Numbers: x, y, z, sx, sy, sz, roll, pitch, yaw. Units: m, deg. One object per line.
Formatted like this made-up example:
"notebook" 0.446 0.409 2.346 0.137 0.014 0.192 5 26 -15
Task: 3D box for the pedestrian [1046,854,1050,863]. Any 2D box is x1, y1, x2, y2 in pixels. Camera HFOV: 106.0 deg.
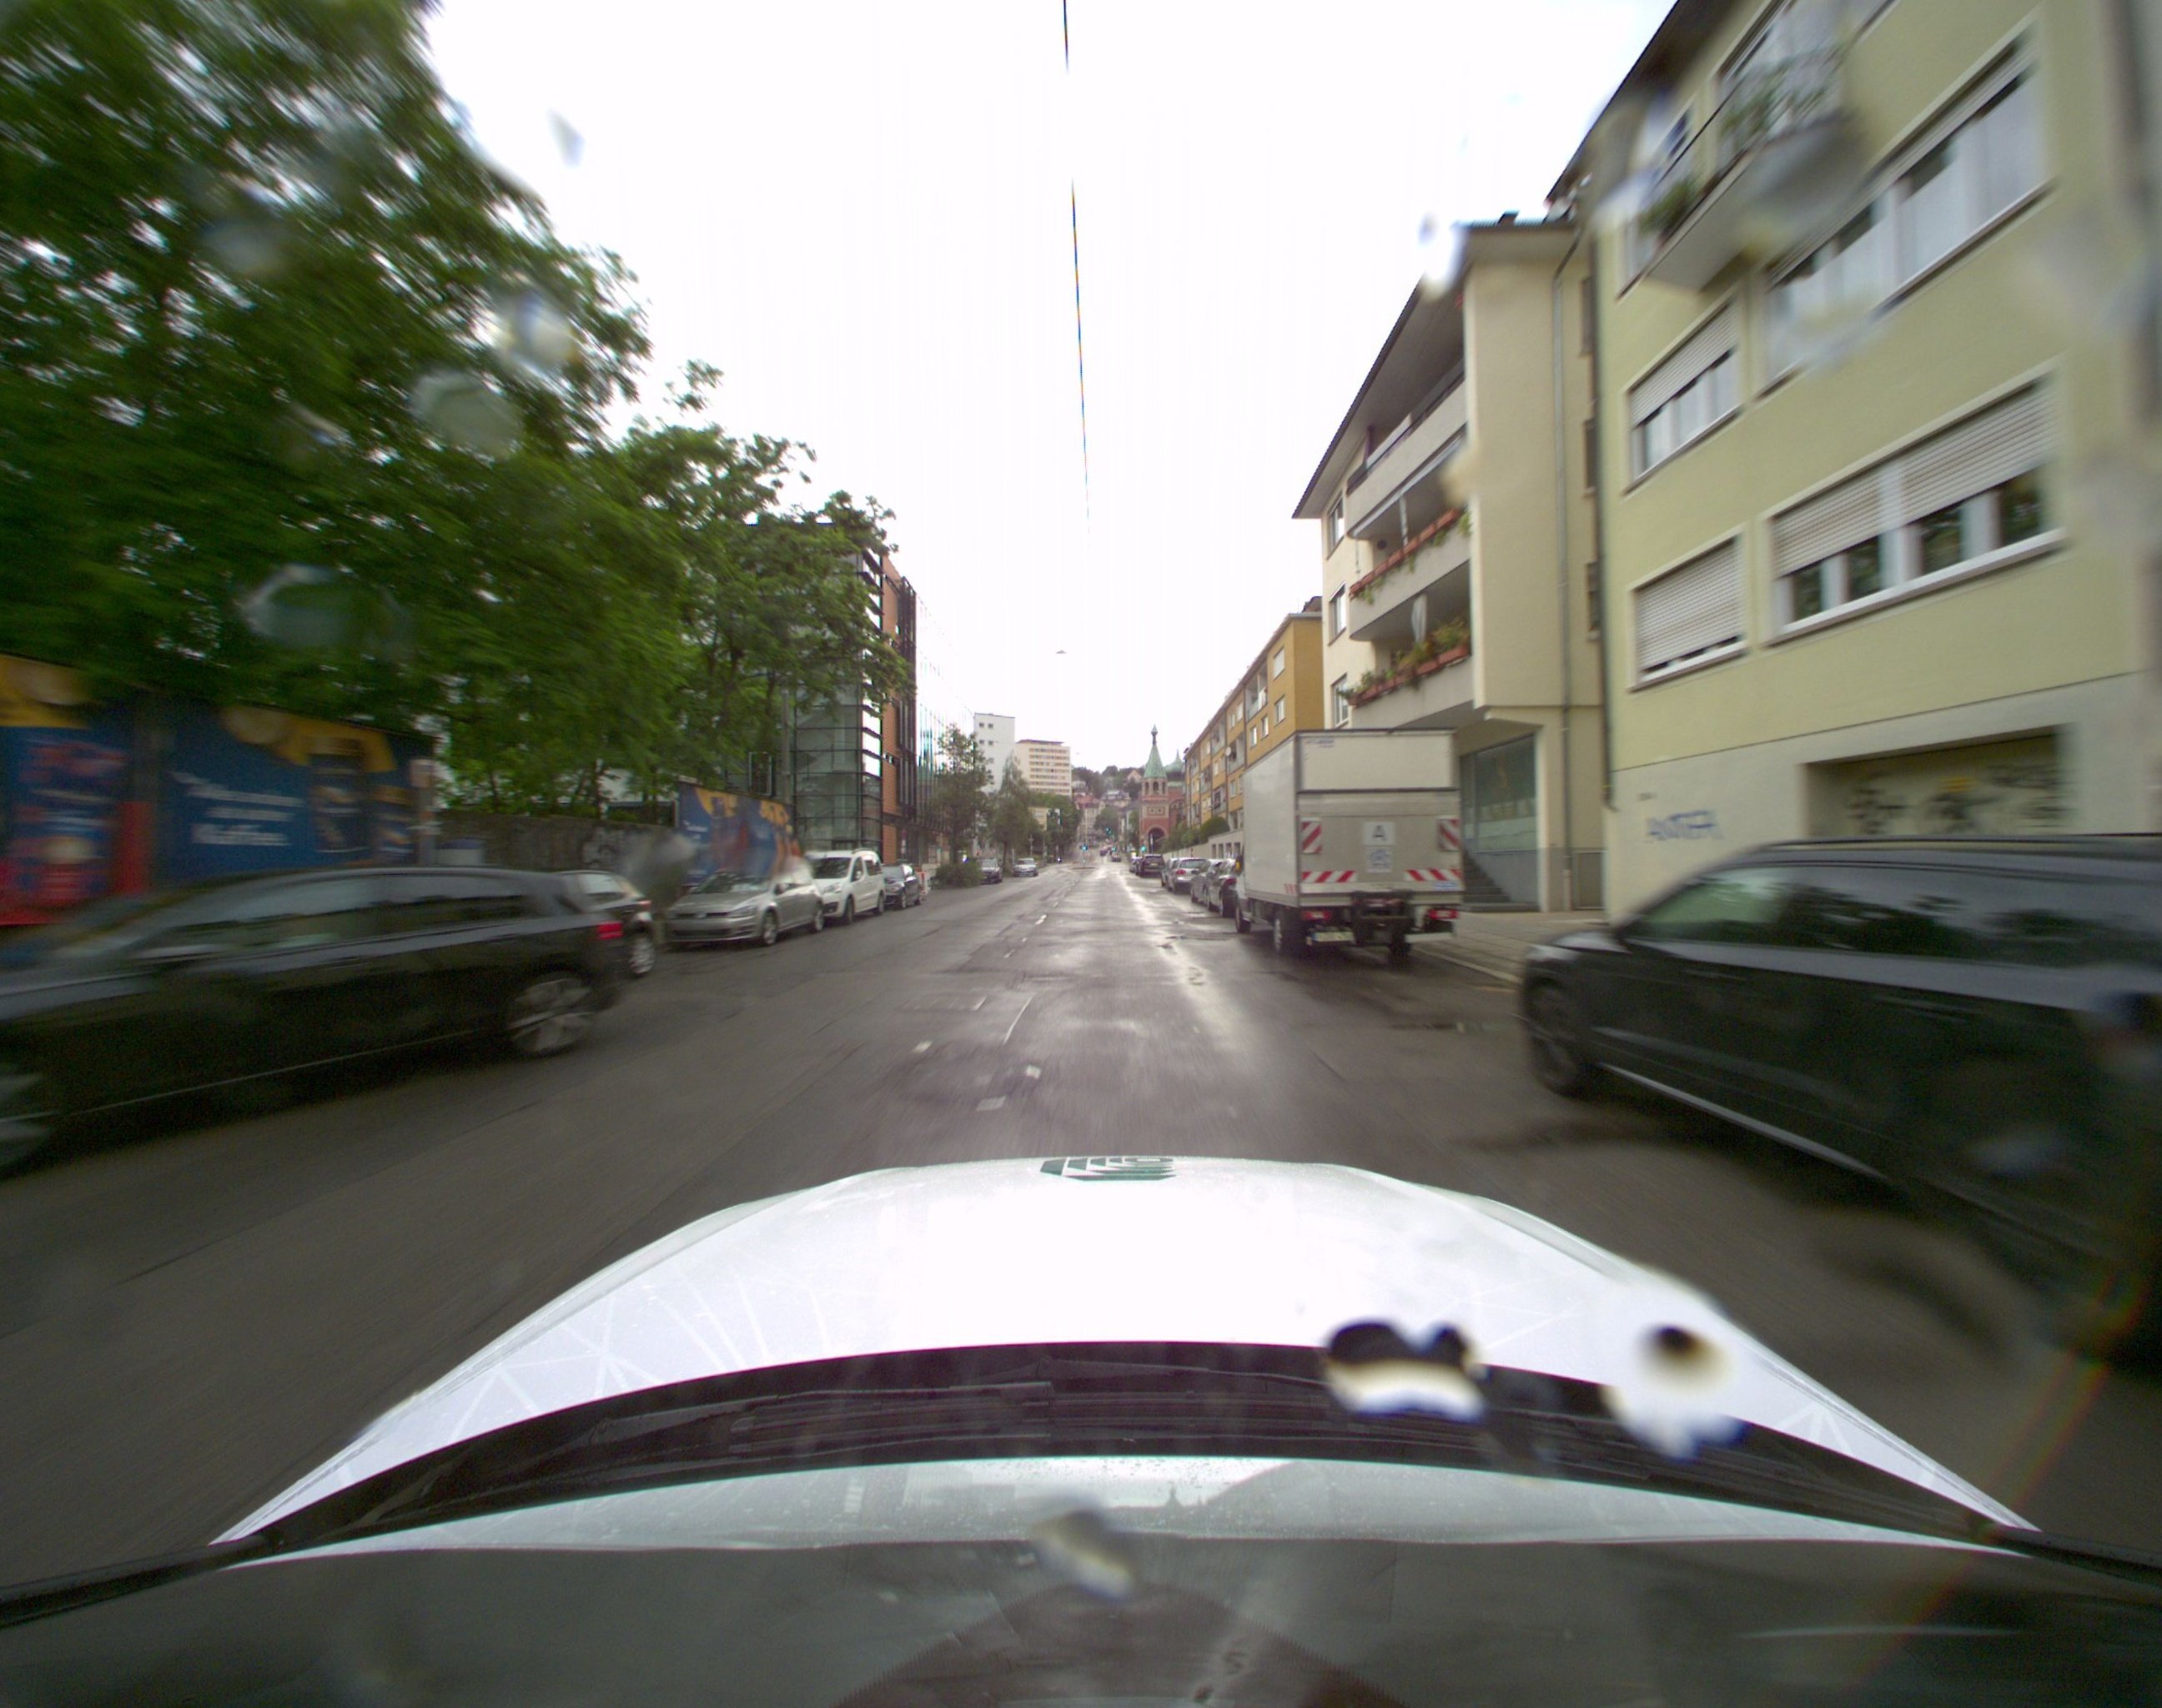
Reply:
"pedestrian" -7.083 1.029 175.223 0.885 1.893 0.921 -1 -1 -5

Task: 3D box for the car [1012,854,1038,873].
"car" -4.423 0.768 65.235 1.704 1.450 4.294 -1 -1 0

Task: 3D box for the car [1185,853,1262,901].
"car" 4.469 0.729 26.108 1.659 1.421 3.918 -1 -1 -2

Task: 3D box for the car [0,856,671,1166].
"car" -5.243 0.744 5.320 1.789 1.416 4.408 -1 -1 24

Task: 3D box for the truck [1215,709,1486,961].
"truck" 4.006 -0.207 13.901 2.460 3.172 7.038 -1 -1 2

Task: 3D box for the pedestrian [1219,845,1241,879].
"pedestrian" 7.724 0.408 42.274 0.758 1.732 0.749 -3 1 39

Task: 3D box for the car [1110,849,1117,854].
"car" 9.286 -0.711 230.854 1.886 1.510 4.001 1 0 1

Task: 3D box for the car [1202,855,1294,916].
"car" 4.261 0.756 21.331 1.657 1.421 4.043 -1 0 1

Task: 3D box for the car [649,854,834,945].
"car" -6.276 0.786 15.629 1.677 1.462 4.276 -2 -1 0

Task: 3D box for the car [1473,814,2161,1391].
"car" 3.814 0.670 4.216 1.657 1.573 4.099 -1 0 1

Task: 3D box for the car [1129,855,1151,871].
"car" 5.530 0.835 76.987 1.811 1.522 4.076 1 0 1

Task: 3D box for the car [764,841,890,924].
"car" -6.232 0.674 20.529 1.718 1.800 4.344 -2 -1 1

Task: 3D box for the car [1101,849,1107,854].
"car" 6.925 -0.712 244.598 1.901 1.510 4.001 0 0 1

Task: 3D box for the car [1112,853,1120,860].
"car" 8.419 0.482 194.512 1.724 1.653 4.005 -1 0 4

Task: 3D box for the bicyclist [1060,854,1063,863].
"bicyclist" -3.901 0.936 161.941 0.675 1.661 0.649 -1 -1 -2

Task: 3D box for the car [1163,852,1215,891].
"car" 4.439 0.703 34.040 1.658 1.502 3.920 -1 -1 0

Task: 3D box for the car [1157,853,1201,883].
"car" 4.742 0.675 39.925 1.658 1.400 3.920 -1 -1 0

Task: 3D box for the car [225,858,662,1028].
"car" -6.484 0.792 8.954 1.677 1.398 3.910 -2 -1 0

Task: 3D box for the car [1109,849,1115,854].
"car" 9.456 -0.808 247.117 1.901 1.510 4.001 1 0 1

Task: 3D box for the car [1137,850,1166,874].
"car" 5.134 0.581 59.572 1.811 1.652 4.076 1 0 1

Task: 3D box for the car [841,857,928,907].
"car" -6.088 0.848 25.725 1.718 1.376 4.341 -2 -1 -1

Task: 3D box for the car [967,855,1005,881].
"car" -5.742 0.856 49.861 1.798 1.450 4.656 -1 -1 -1

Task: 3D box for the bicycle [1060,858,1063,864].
"bicycle" -3.893 1.382 161.918 0.675 1.108 1.799 -1 -1 -2
